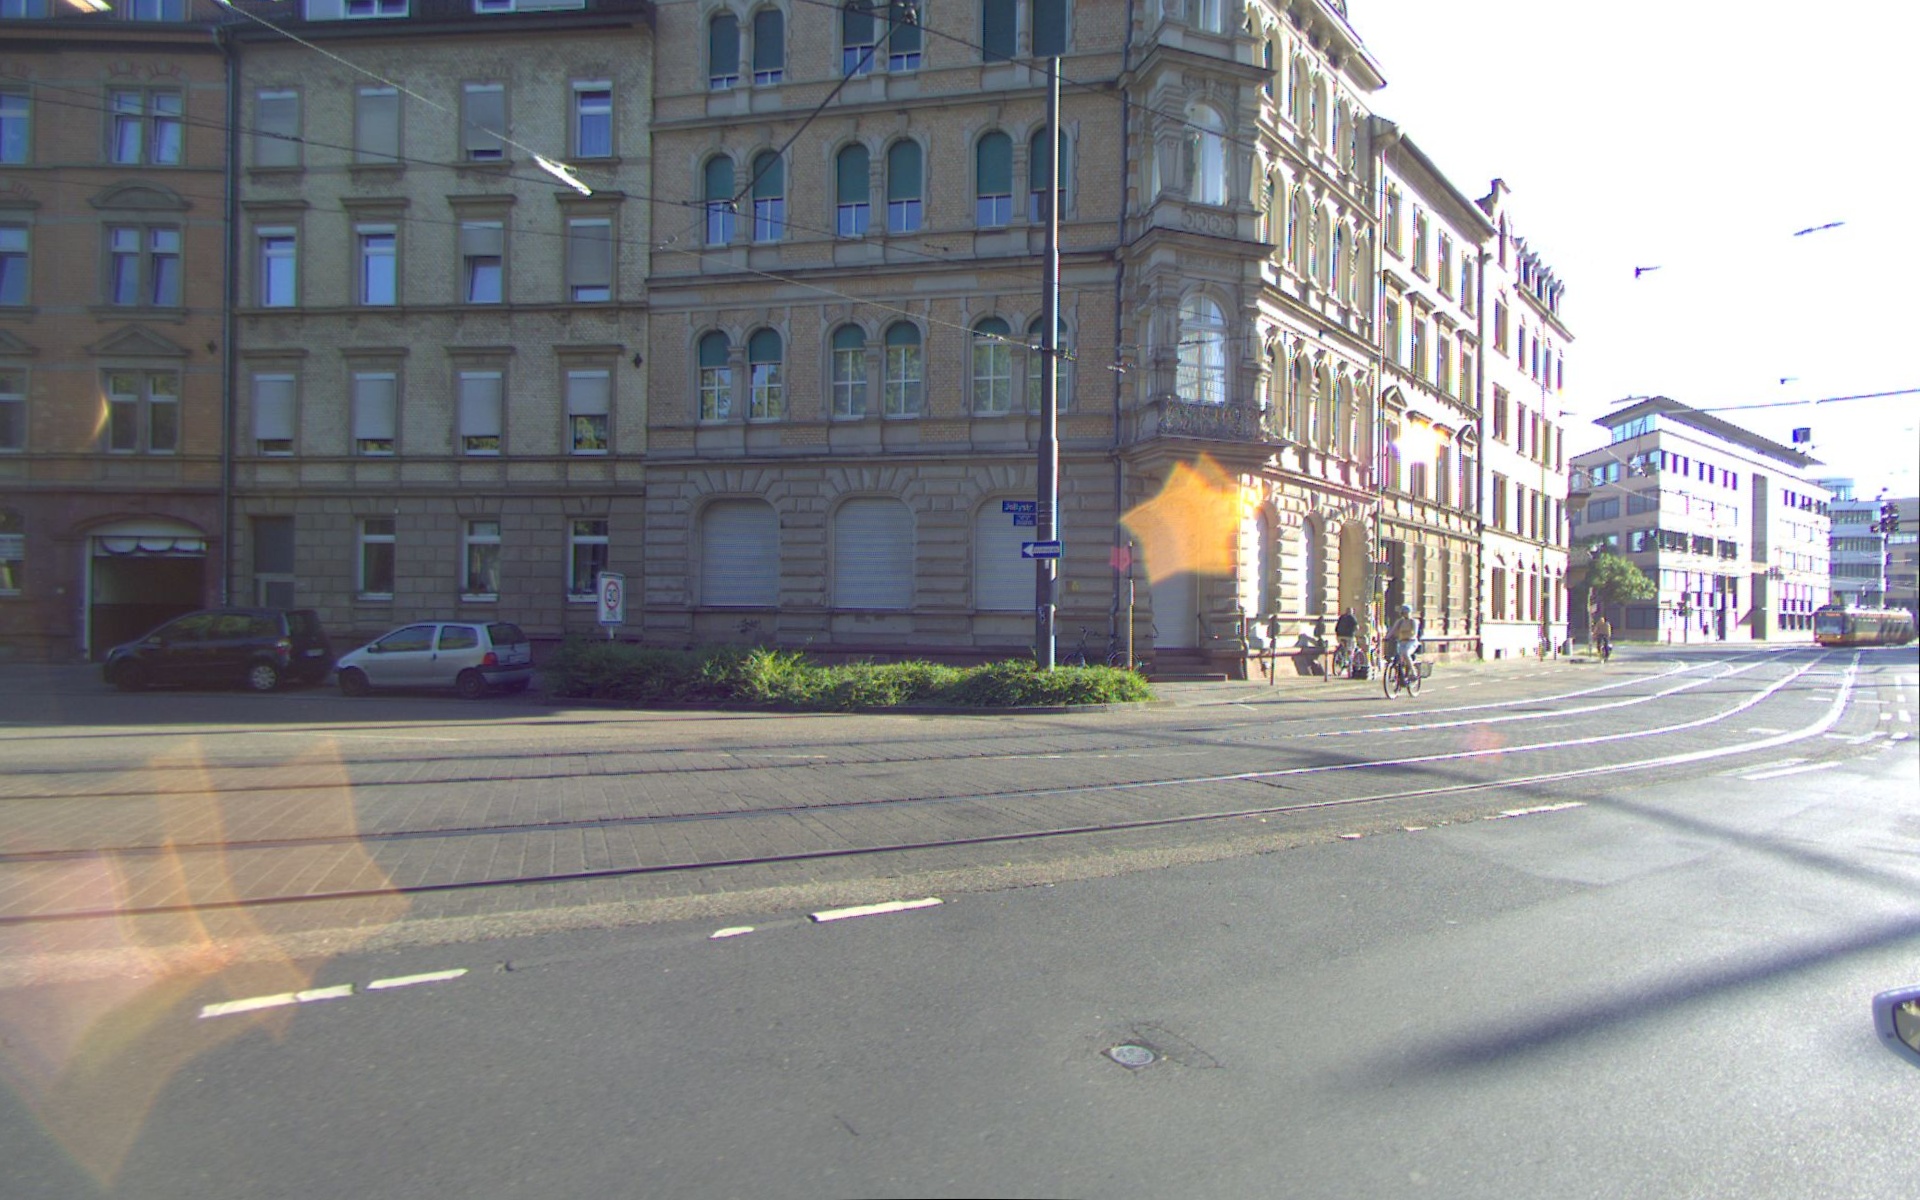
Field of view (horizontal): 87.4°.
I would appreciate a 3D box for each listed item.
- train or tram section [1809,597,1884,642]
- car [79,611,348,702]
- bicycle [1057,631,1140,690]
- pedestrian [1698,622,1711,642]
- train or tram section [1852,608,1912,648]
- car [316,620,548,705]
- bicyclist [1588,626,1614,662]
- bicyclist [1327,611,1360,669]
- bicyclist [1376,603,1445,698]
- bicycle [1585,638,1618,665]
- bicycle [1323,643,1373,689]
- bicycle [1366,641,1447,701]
[{"bbox_3d":[76.914,1.783,87.005,14.148,3.621,2.225,2,-2,-38],"label":"train or tram section"},{"bbox_3d":[-14.456,1.059,19.638,3.796,1.584,1.856,-1,1,-3],"label":"car"},{"bbox_3d":[3.002,1.301,21.748,1.755,1.222,0.503,0,2,8],"label":"bicycle"},{"bbox_3d":[70.173,3.007,94.626,0.729,1.866,0.800,1,-2,-37],"label":"pedestrian"},{"bbox_3d":[87.533,2.675,95.295,12.099,3.627,2.206,2,-2,-38],"label":"train or tram section"},{"bbox_3d":[-9.952,1.158,19.111,3.424,1.448,1.857,0,1,5],"label":"car"},{"bbox_3d":[27.972,1.911,43.838,0.834,1.534,0.797,-1,-2,42],"label":"bicyclist"},{"bbox_3d":[10.106,1.057,26.475,0.698,1.510,0.586,2,-2,-44],"label":"bicyclist"},{"bbox_3d":[9.413,1.034,20.984,1.018,1.915,1.107,-1,-2,42],"label":"bicyclist"},{"bbox_3d":[28.001,2.226,43.835,0.936,1.112,1.988,-1,-2,42],"label":"bicycle"},{"bbox_3d":[10.309,1.723,26.653,0.496,1.147,2.113,-1,-2,43],"label":"bicycle"},{"bbox_3d":[9.320,1.442,20.900,0.872,1.171,2.311,-1,-2,42],"label":"bicycle"}]
